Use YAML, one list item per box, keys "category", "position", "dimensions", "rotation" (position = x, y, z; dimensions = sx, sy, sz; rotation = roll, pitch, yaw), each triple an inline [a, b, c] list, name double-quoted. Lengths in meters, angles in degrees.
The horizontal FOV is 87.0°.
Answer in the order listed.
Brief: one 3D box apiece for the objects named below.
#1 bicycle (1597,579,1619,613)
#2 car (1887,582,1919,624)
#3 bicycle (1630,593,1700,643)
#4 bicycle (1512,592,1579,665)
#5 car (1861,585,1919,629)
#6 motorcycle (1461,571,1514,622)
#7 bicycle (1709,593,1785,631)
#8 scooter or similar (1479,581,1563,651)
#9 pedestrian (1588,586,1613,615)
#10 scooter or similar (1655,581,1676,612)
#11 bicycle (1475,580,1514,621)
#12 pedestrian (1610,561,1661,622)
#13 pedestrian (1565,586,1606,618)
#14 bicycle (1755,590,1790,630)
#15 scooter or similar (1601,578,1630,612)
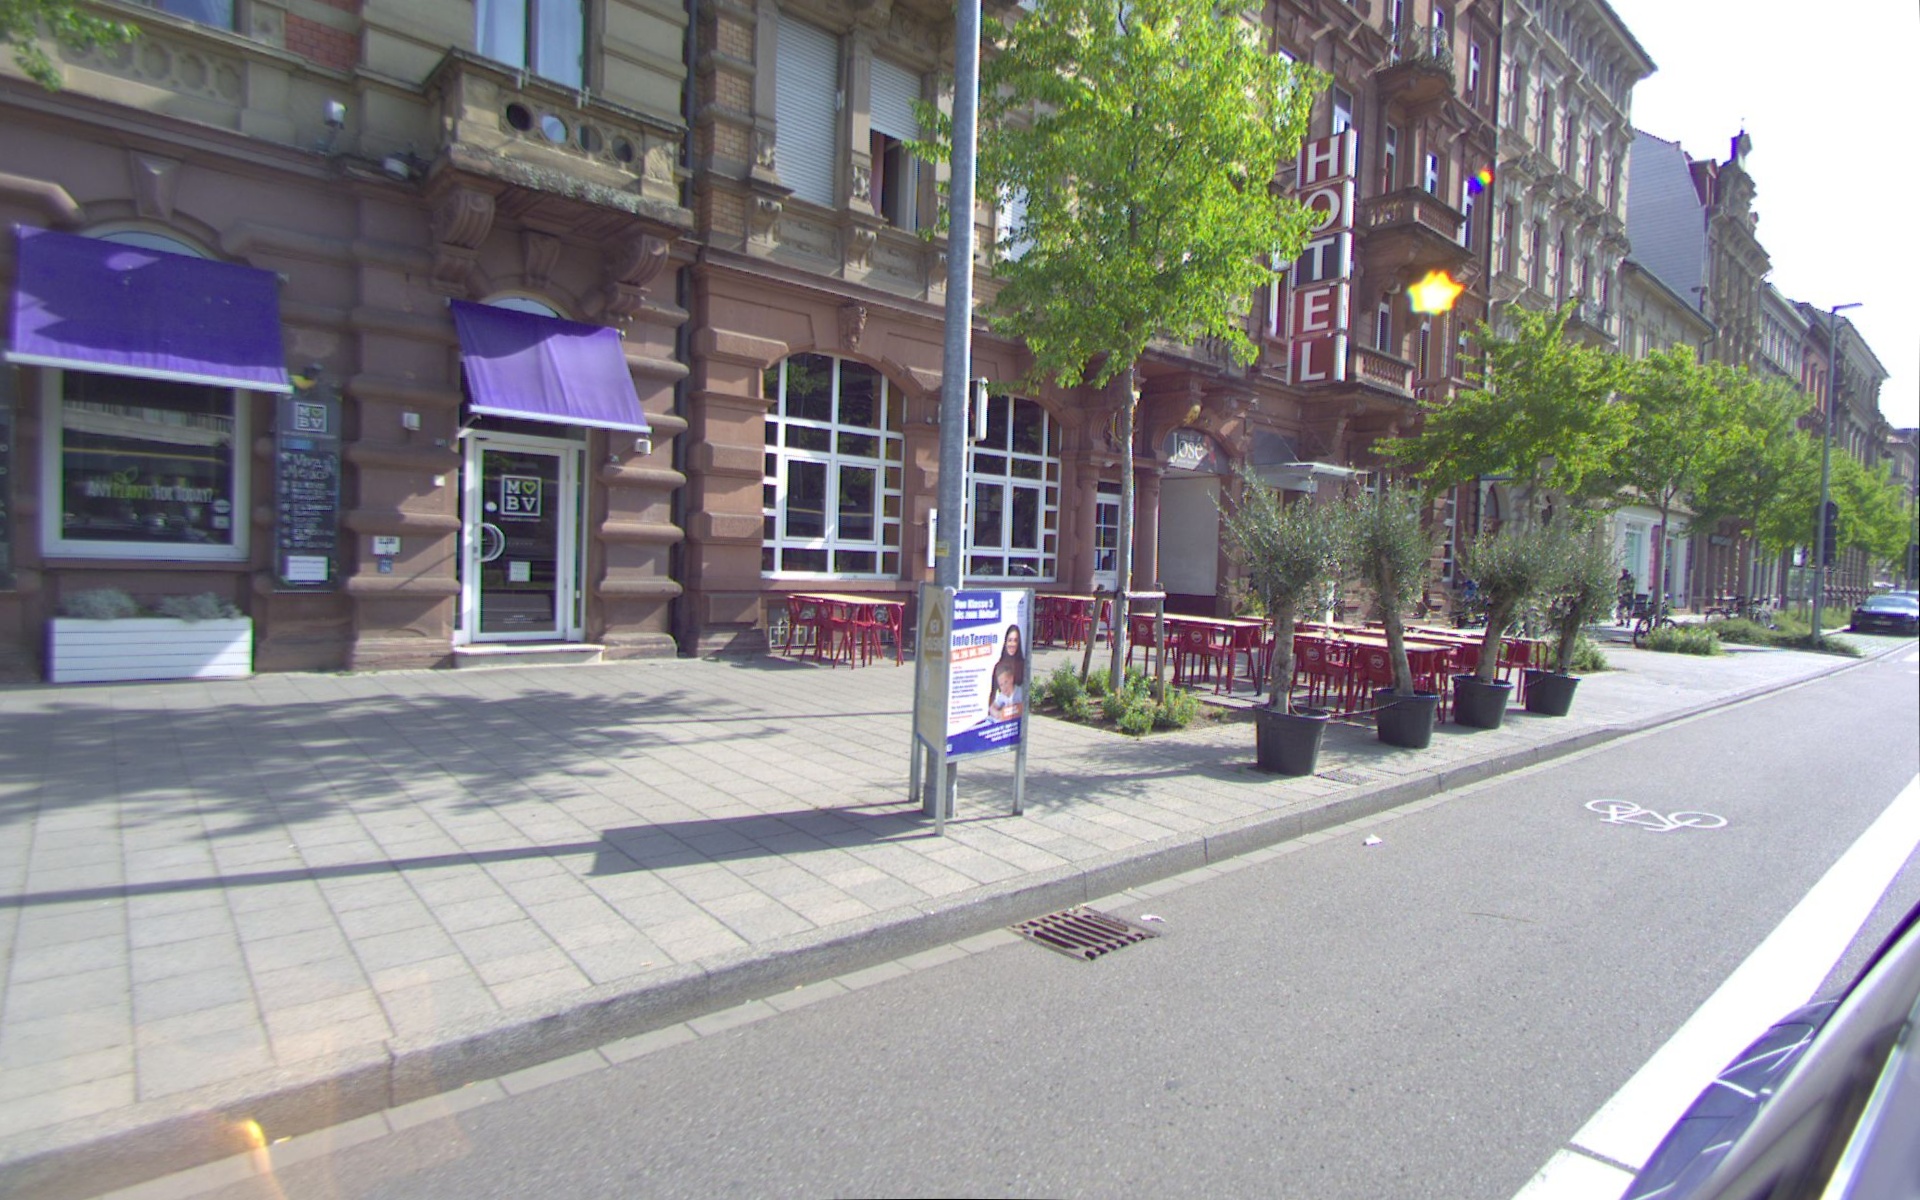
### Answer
- category: "bicycle"
  position: [21.862, -0.154, 34.143]
  dimensions: [0.450, 1.097, 1.428]
  rotation: [3, 2, 38]
- category: "car"
  position: [39.078, 0.113, 41.230]
  dimensions: [1.771, 1.607, 4.180]
  rotation: [5, 4, 44]
- category: "bicycle"
  position: [15.966, 0.410, 22.914]
  dimensions: [1.678, 1.073, 0.507]
  rotation: [1, 3, -27]
- category: "bicycle"
  position: [9.935, 0.444, 17.136]
  dimensions: [0.595, 1.136, 1.897]
  rotation: [3, 2, 41]
- category: "car"
  position: [34.024, 0.227, 36.430]
  dimensions: [4.632, 1.413, 1.740]
  rotation: [0, 4, -41]
- category: "motorcycle"
  position: [13.083, -0.106, 25.066]
  dimensions: [1.912, 1.189, 0.464]
  rotation: [-1, 5, -42]
- category: "bicycle"
  position: [23.523, 0.347, 30.263]
  dimensions: [1.842, 1.095, 0.455]
  rotation: [0, 3, 0]
- category: "scooter or similar"
  position: [10.341, 0.279, 18.697]
  dimensions: [0.333, 1.171, 1.261]
  rotation: [0, 5, -37]
- category: "pedestrian"
  position: [20.491, 0.021, 32.381]
  dimensions: [0.570, 0.865, 0.450]
  rotation: [6, 4, 42]
- category: "scooter or similar"
  position: [26.184, -0.123, 37.568]
  dimensions: [1.068, 1.148, 0.289]
  rotation: [0, 2, -37]
- category: "bicycle"
  position: [14.017, 0.011, 26.531]
  dimensions: [1.232, 1.030, 0.398]
  rotation: [0, 2, -37]
- category: "pedestrian"
  position: [19.827, -0.270, 29.734]
  dimensions: [0.776, 1.717, 0.828]
  rotation: [2, 3, -12]
- category: "pedestrian"
  position: [19.295, 0.055, 31.209]
  dimensions: [0.699, 0.887, 0.878]
  rotation: [0, 5, -45]
- category: "bicycle"
  position: [23.372, 0.274, 29.106]
  dimensions: [1.795, 1.107, 0.493]
  rotation: [0, 2, -42]
- category: "scooter or similar"
  position: [22.750, -0.173, 35.128]
  dimensions: [0.916, 1.138, 0.608]
  rotation: [0, 2, -42]
